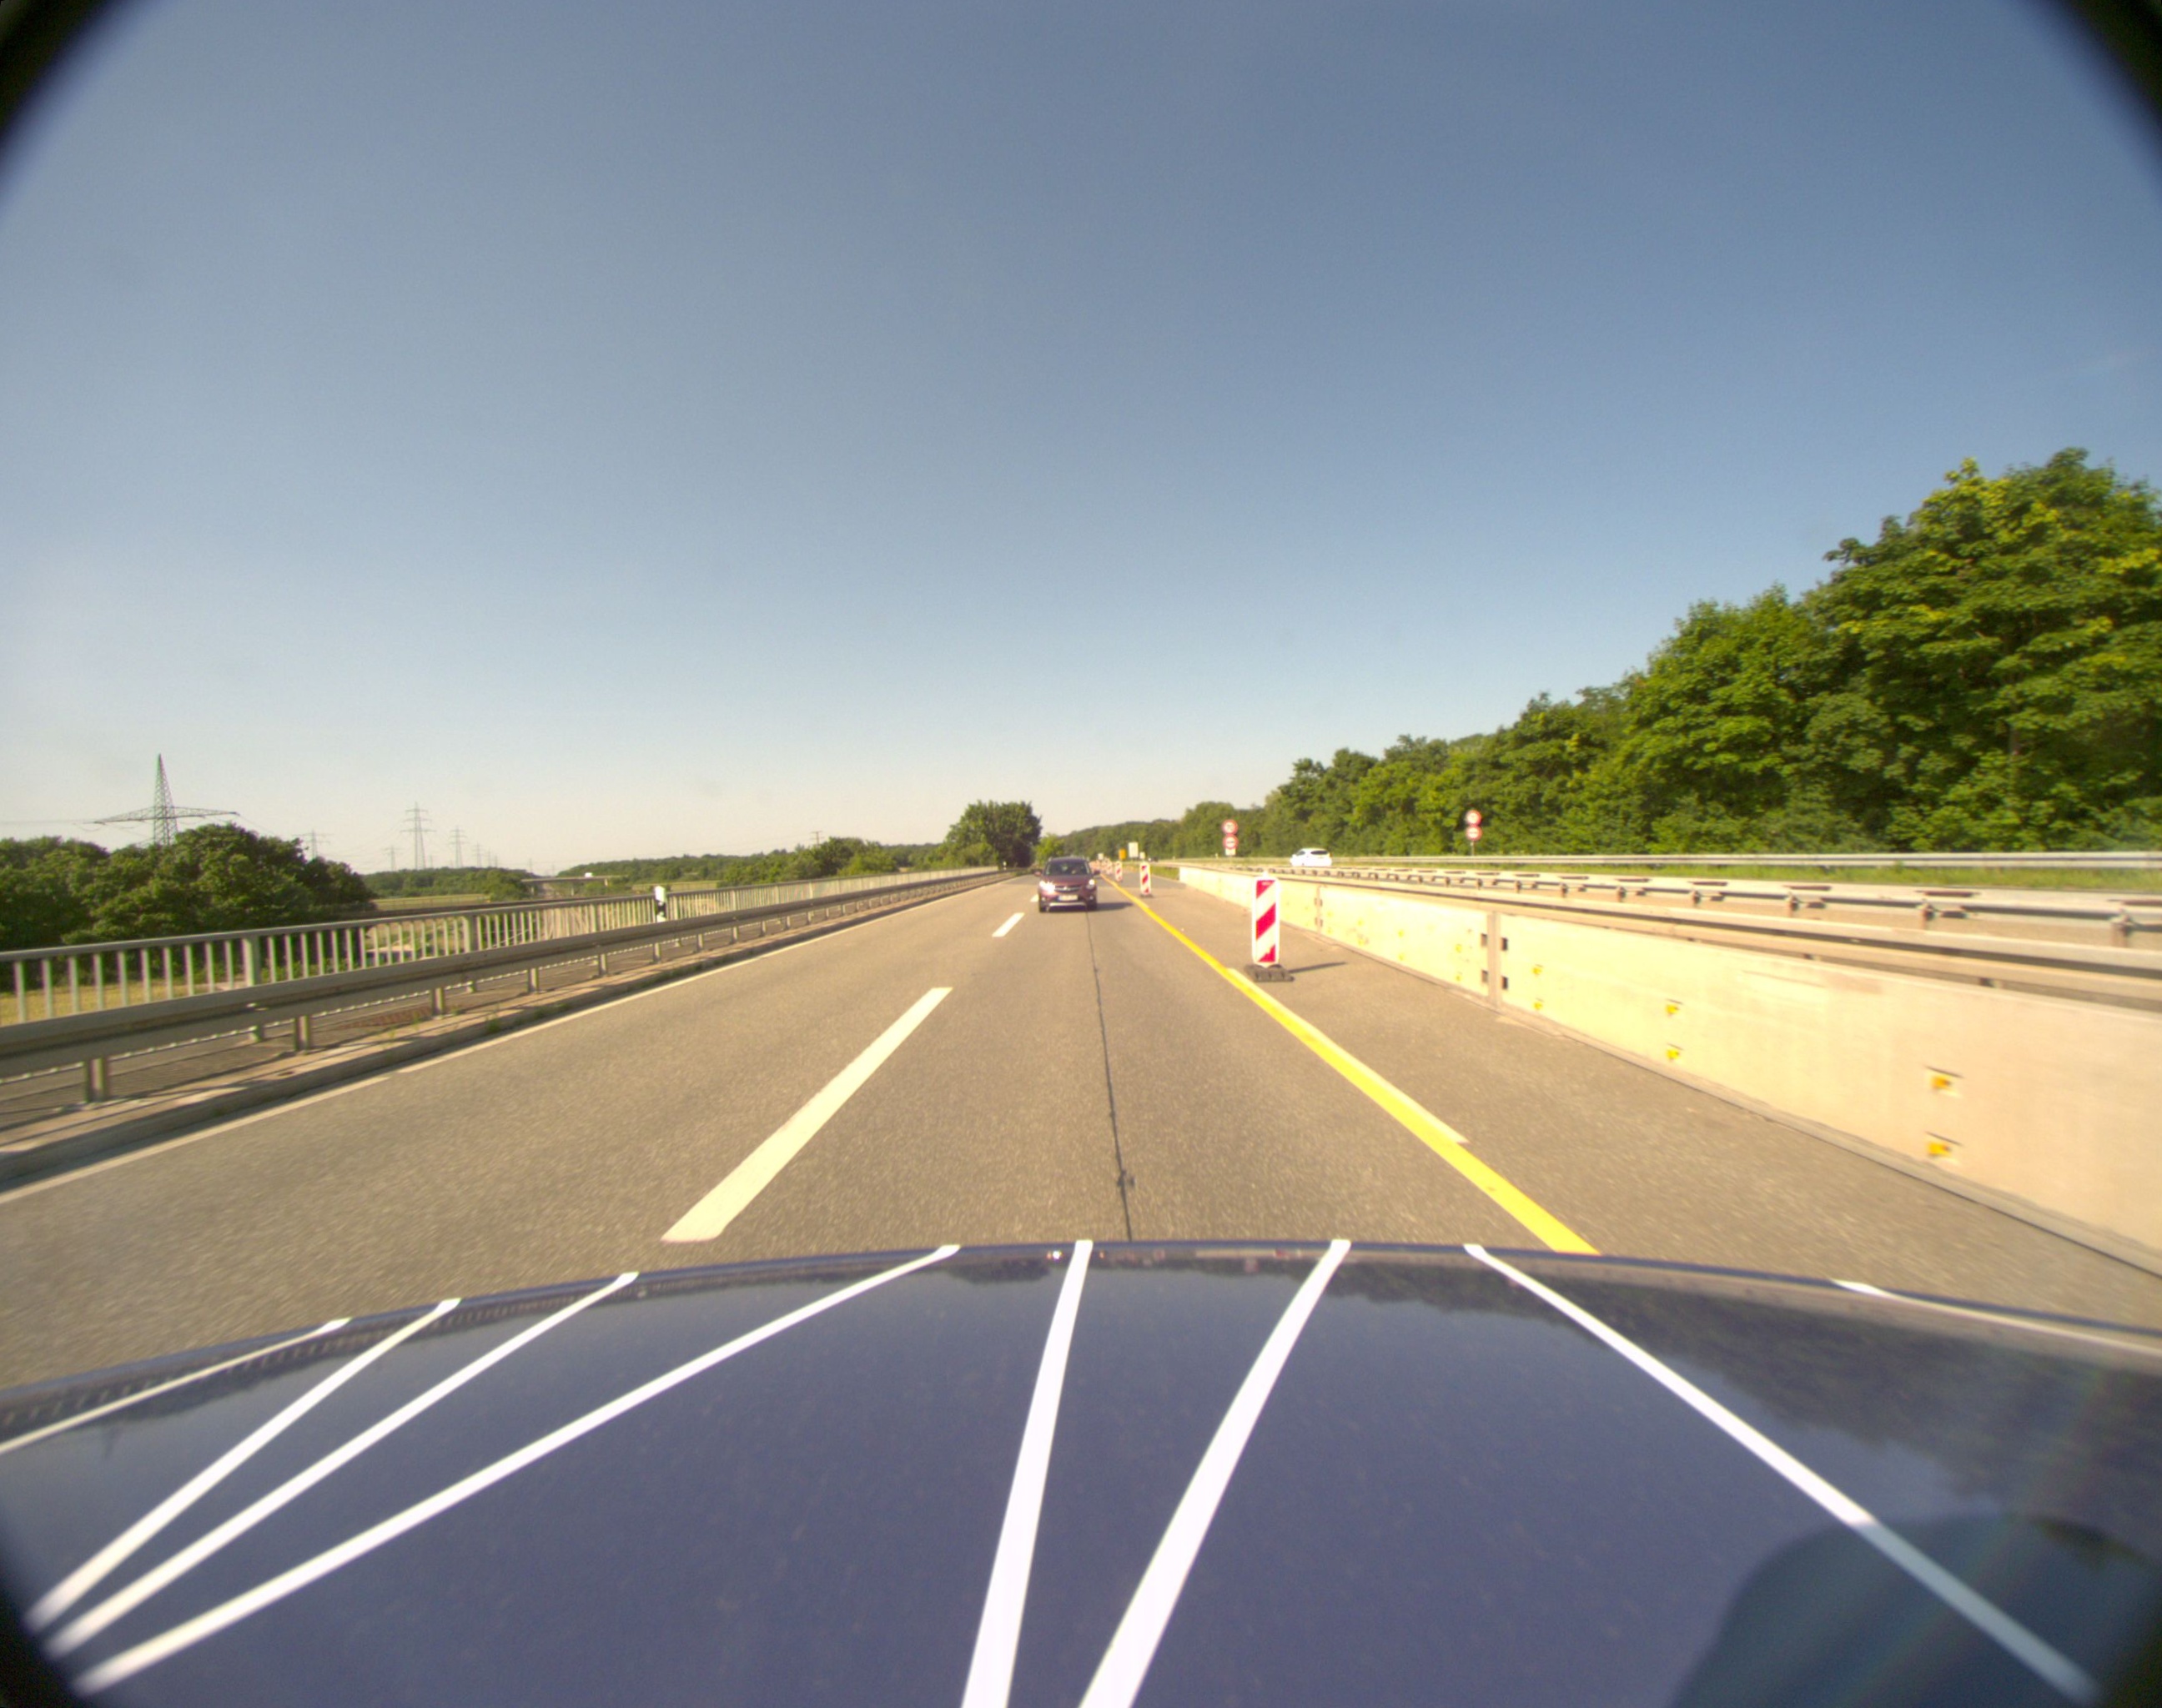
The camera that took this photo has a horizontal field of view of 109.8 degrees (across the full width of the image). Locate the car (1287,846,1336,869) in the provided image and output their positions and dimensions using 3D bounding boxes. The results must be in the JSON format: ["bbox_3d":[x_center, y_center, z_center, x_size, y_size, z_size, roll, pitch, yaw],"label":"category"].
[{"bbox_3d":[14.640,0.215,48.508,1.744,1.331,4.551,-2,0,0],"label":"car"}]

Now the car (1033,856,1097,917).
[{"bbox_3d":[-0.376,0.865,22.186,1.587,1.491,4.415,-3,0,2],"label":"car"}]

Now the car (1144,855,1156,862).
[{"bbox_3d":[12.128,0.752,134.177,1.595,1.140,3.768,-4,0,-1],"label":"car"}]

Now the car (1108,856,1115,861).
[{"bbox_3d":[10.247,1.478,257.858,1.999,1.537,3.999,-2,0,-1],"label":"car"}]
